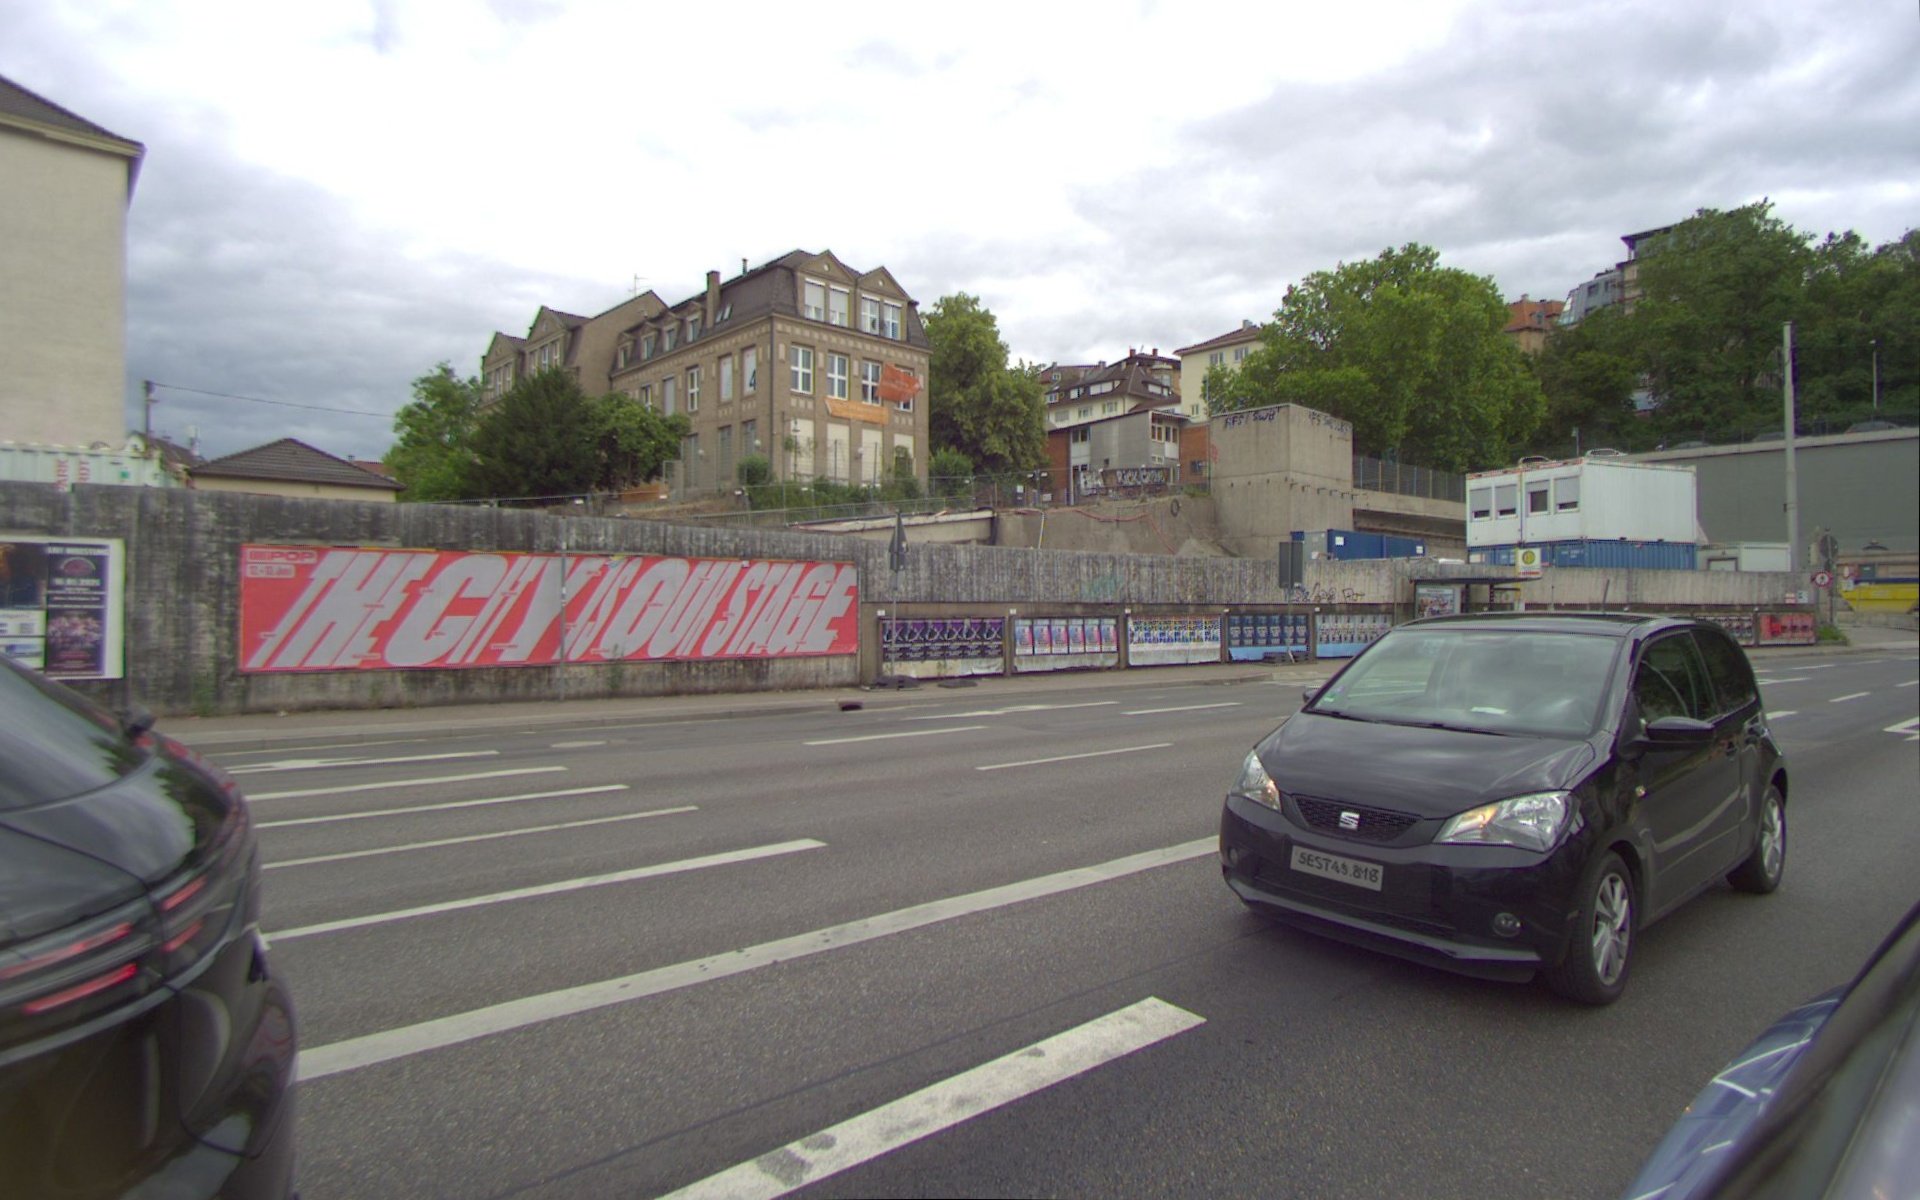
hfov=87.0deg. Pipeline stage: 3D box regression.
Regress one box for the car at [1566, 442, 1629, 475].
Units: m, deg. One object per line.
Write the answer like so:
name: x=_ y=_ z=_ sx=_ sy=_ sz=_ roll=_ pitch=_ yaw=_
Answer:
car: x=50.994 y=-11.301 z=80.960 sx=3.986 sy=2.039 sz=1.969 roll=0 pitch=0 yaw=44

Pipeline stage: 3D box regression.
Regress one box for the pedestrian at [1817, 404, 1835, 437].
pedestrian: x=58.867 y=-12.177 z=68.791 sx=0.849 sy=2.039 sz=0.891 roll=-1 pitch=-1 yaw=45

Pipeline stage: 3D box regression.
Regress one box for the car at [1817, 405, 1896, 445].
car: x=61.743 y=-11.998 z=69.726 sx=1.967 sy=2.039 sz=3.990 roll=0 pitch=0 yaw=-44

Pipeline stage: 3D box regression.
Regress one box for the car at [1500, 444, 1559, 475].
car: x=47.625 y=-11.704 z=84.700 sx=3.986 sy=2.039 sz=1.969 roll=0 pitch=0 yaw=44

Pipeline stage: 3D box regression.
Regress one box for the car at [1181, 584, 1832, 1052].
car: x=2.982 y=0.715 z=5.172 sx=3.813 sy=1.515 sz=1.666 roll=0 pitch=-1 yaw=-41

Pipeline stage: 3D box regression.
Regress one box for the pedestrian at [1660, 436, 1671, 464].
pedestrian: x=54.239 y=-11.502 z=77.779 sx=0.580 sy=2.039 sz=0.568 roll=0 pitch=0 yaw=45

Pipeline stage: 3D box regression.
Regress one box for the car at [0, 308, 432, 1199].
car: x=-2.970 y=0.585 z=0.446 sx=4.553 sy=1.707 sz=1.958 roll=0 pitch=-1 yaw=-41

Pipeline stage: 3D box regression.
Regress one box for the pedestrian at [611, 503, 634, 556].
pedestrian: x=-13.291 y=-2.748 z=39.834 sx=0.644 sy=2.039 sz=0.656 roll=0 pitch=0 yaw=44
